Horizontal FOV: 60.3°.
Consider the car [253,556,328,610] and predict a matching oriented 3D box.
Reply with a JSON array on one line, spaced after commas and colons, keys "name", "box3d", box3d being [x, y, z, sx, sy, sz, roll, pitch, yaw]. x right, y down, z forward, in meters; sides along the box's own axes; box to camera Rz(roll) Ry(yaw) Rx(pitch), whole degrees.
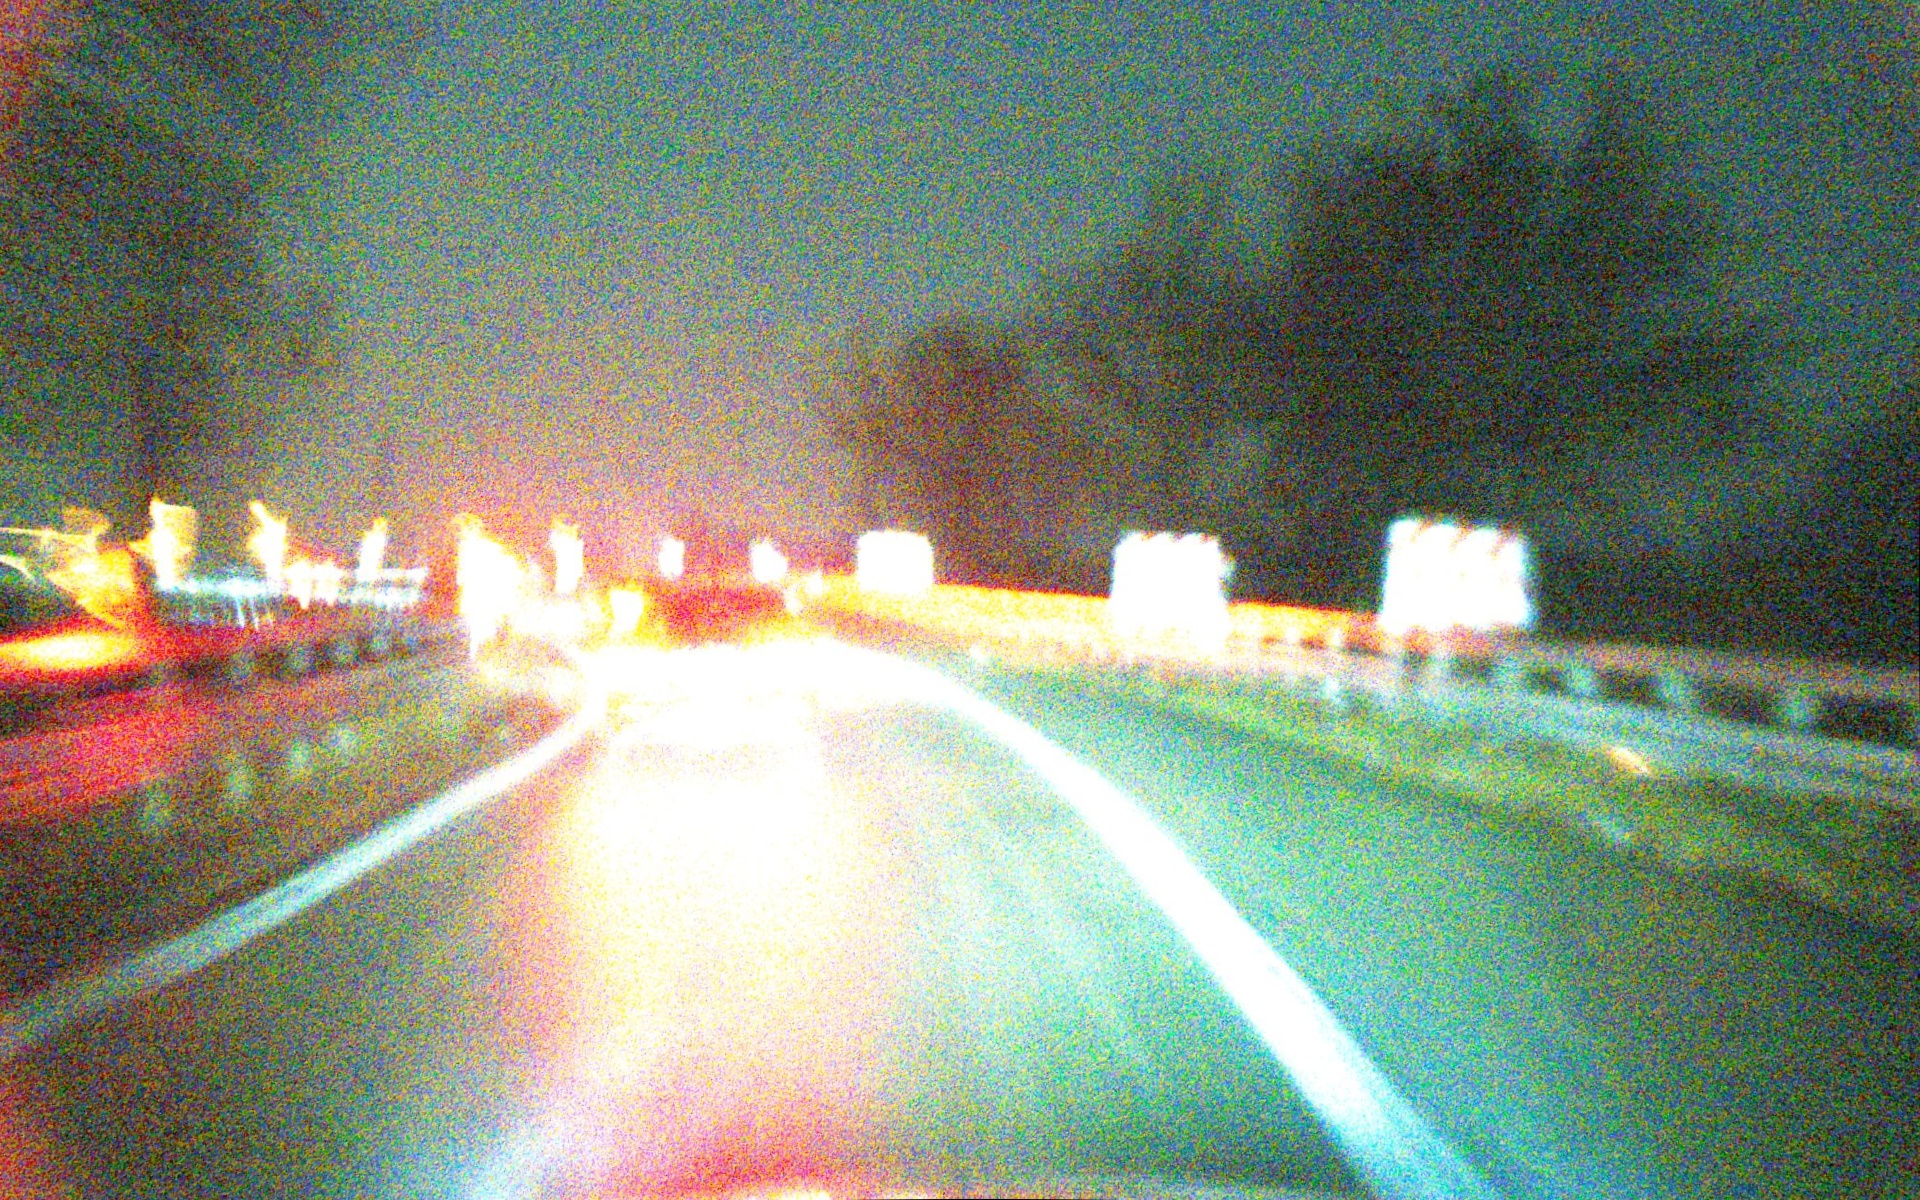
[{"name": "car", "box3d": [-26.165, -0.695, 64.578, 1.880, 2.032, 3.996, 0, 1, -35]}]

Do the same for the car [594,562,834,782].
[{"name": "car", "box3d": [-2.185, 0.527, 14.799, 1.826, 1.676, 4.061, 0, 1, -8]}]

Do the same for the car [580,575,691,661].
[{"name": "car", "box3d": [-7.146, 0.363, 36.168, 1.867, 1.750, 4.023, 0, 0, -19]}]

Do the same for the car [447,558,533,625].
[{"name": "car", "box3d": [-15.211, -0.303, 53.359, 1.874, 2.076, 4.008, 0, 1, -28]}]
